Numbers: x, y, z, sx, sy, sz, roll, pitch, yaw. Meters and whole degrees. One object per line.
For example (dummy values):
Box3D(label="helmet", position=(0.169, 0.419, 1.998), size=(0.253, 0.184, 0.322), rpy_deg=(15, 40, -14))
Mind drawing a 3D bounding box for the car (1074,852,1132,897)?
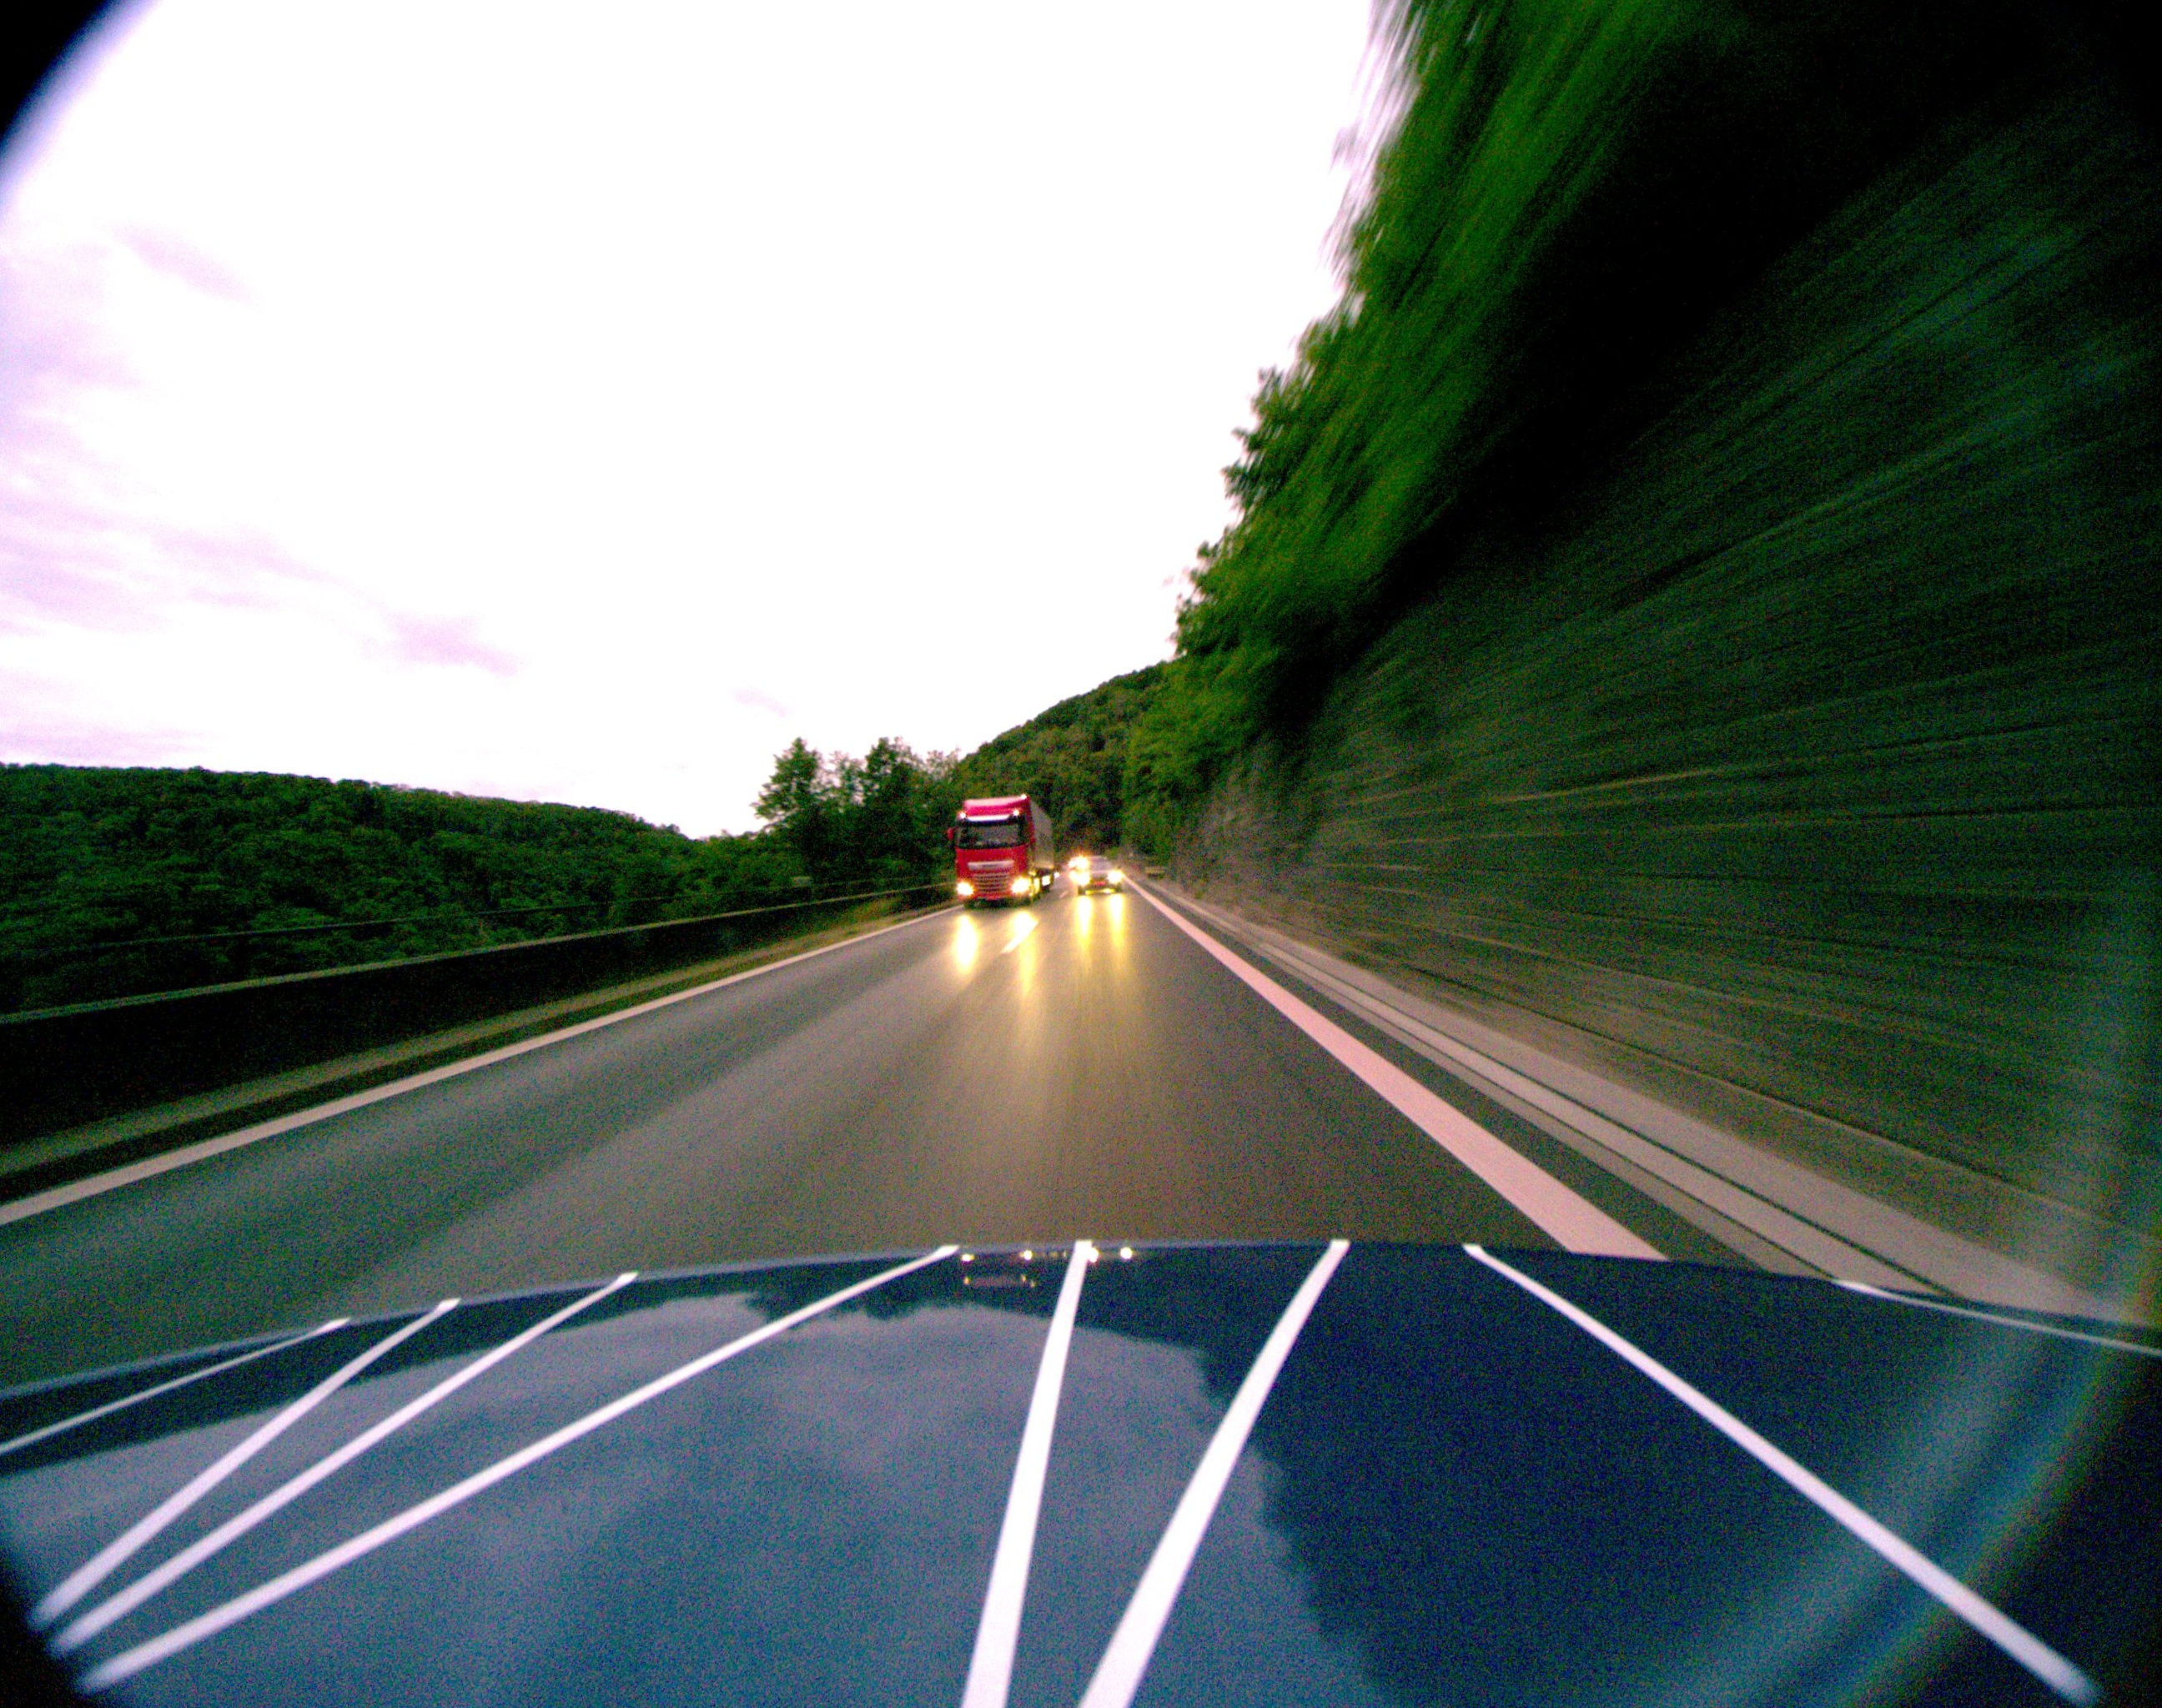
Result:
Box3D(label="car", position=(0.992, 0.800, 31.839), size=(1.998, 1.499, 4.001), rpy_deg=(-7, 1, 5))

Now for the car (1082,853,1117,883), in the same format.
Box3D(label="car", position=(1.196, 0.869, 48.471), size=(1.998, 1.630, 4.000), rpy_deg=(-7, 0, 1))

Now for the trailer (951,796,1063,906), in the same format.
Box3D(label="trailer", position=(-2.962, -0.062, 35.581), size=(3.104, 3.946, 14.220), rpy_deg=(-4, 0, 2))

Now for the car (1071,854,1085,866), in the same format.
Box3D(label="car", position=(-0.470, 0.929, 115.519), size=(1.998, 1.761, 4.001), rpy_deg=(-2, -1, 1))

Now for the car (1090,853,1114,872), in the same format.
Box3D(label="car", position=(1.842, 0.761, 65.892), size=(1.998, 1.499, 4.001), rpy_deg=(-2, -1, 2))

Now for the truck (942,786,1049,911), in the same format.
Box3D(label="truck", position=(-3.043, -0.185, 29.013), size=(3.077, 4.120, 6.447), rpy_deg=(-3, 0, 1))
